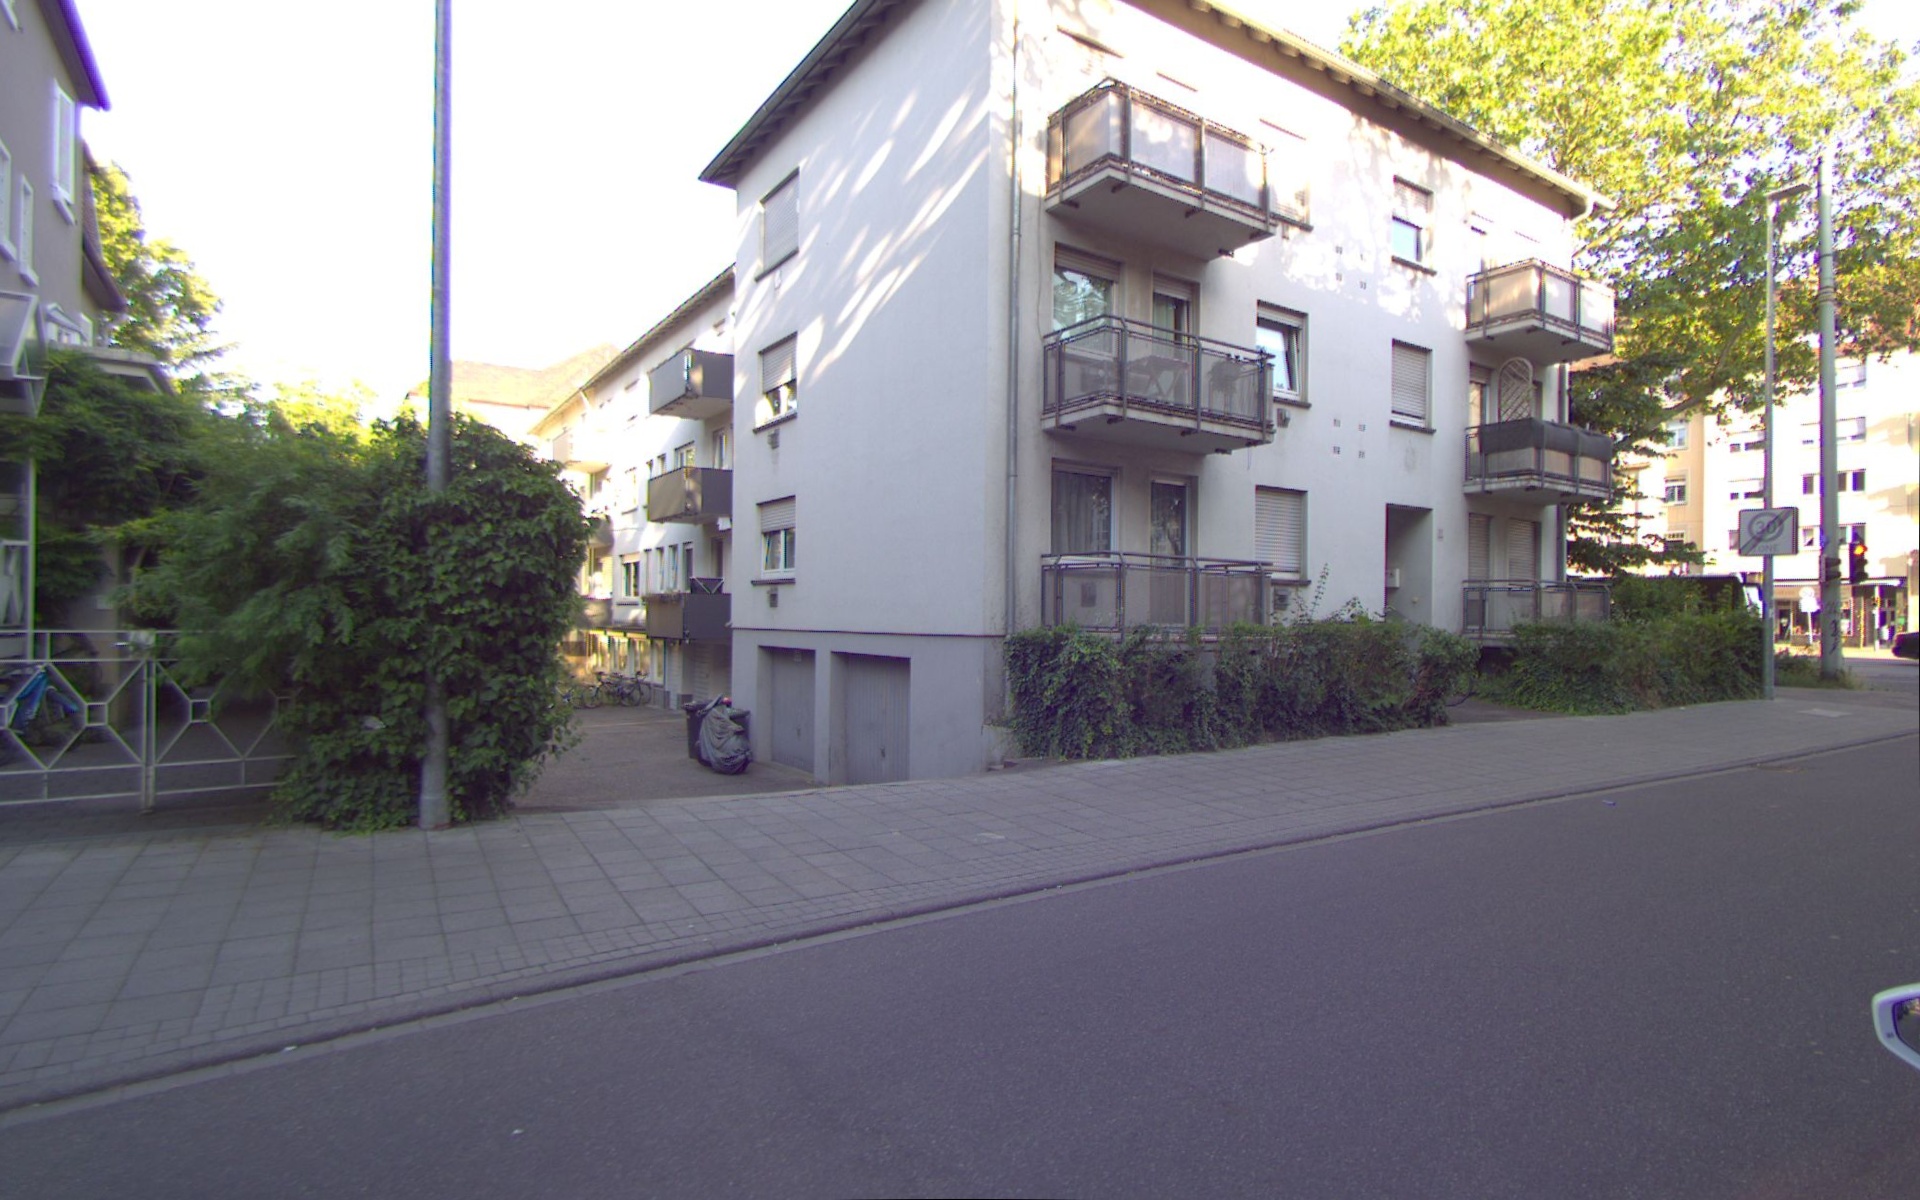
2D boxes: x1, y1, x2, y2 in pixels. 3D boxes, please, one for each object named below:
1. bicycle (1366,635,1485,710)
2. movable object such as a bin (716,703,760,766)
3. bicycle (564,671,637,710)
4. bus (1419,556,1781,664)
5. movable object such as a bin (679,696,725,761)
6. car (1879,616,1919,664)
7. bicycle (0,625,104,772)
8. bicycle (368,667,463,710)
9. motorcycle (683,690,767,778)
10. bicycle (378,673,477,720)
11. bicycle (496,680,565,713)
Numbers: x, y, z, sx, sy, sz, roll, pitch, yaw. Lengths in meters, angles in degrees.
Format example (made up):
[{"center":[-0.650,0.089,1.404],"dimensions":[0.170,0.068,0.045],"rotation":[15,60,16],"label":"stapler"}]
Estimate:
[{"center":[7.252,1.118,15.710],"dimensions":[1.590,1.022,0.517],"rotation":[3,1,19],"label":"bicycle"},{"center":[-4.012,2.413,18.138],"dimensions":[0.606,1.051,0.534],"rotation":[1,-3,-34],"label":"movable object such as a bin"},{"center":[-10.628,2.676,29.731],"dimensions":[1.983,1.085,0.561],"rotation":[1,-3,-31],"label":"bicycle"},{"center":[21.846,0.400,35.200],"dimensions":[2.885,3.243,10.374],"rotation":[1,-1,-37],"label":"bus"},{"center":[-4.816,2.379,18.731],"dimensions":[0.606,1.129,0.795],"rotation":[1,-3,-34],"label":"movable object such as a bin"},{"center":[30.489,1.191,29.744],"dimensions":[1.704,1.447,4.653],"rotation":[1,-1,-38],"label":"car"},{"center":[-8.233,0.804,8.873],"dimensions":[0.469,1.117,2.190],"rotation":[1,0,-26],"label":"bicycle"},{"center":[-15.306,2.478,28.285],"dimensions":[2.311,1.148,0.689],"rotation":[1,-4,-31],"label":"bicycle"},{"center":[-4.007,2.243,17.055],"dimensions":[0.739,1.313,1.563],"rotation":[1,-2,-41],"label":"motorcycle"},{"center":[-14.024,2.530,26.479],"dimensions":[2.268,1.148,0.689],"rotation":[1,-4,-31],"label":"bicycle"},{"center":[-12.273,2.748,28.715],"dimensions":[1.734,0.890,0.561],"rotation":[1,-4,-31],"label":"bicycle"}]
